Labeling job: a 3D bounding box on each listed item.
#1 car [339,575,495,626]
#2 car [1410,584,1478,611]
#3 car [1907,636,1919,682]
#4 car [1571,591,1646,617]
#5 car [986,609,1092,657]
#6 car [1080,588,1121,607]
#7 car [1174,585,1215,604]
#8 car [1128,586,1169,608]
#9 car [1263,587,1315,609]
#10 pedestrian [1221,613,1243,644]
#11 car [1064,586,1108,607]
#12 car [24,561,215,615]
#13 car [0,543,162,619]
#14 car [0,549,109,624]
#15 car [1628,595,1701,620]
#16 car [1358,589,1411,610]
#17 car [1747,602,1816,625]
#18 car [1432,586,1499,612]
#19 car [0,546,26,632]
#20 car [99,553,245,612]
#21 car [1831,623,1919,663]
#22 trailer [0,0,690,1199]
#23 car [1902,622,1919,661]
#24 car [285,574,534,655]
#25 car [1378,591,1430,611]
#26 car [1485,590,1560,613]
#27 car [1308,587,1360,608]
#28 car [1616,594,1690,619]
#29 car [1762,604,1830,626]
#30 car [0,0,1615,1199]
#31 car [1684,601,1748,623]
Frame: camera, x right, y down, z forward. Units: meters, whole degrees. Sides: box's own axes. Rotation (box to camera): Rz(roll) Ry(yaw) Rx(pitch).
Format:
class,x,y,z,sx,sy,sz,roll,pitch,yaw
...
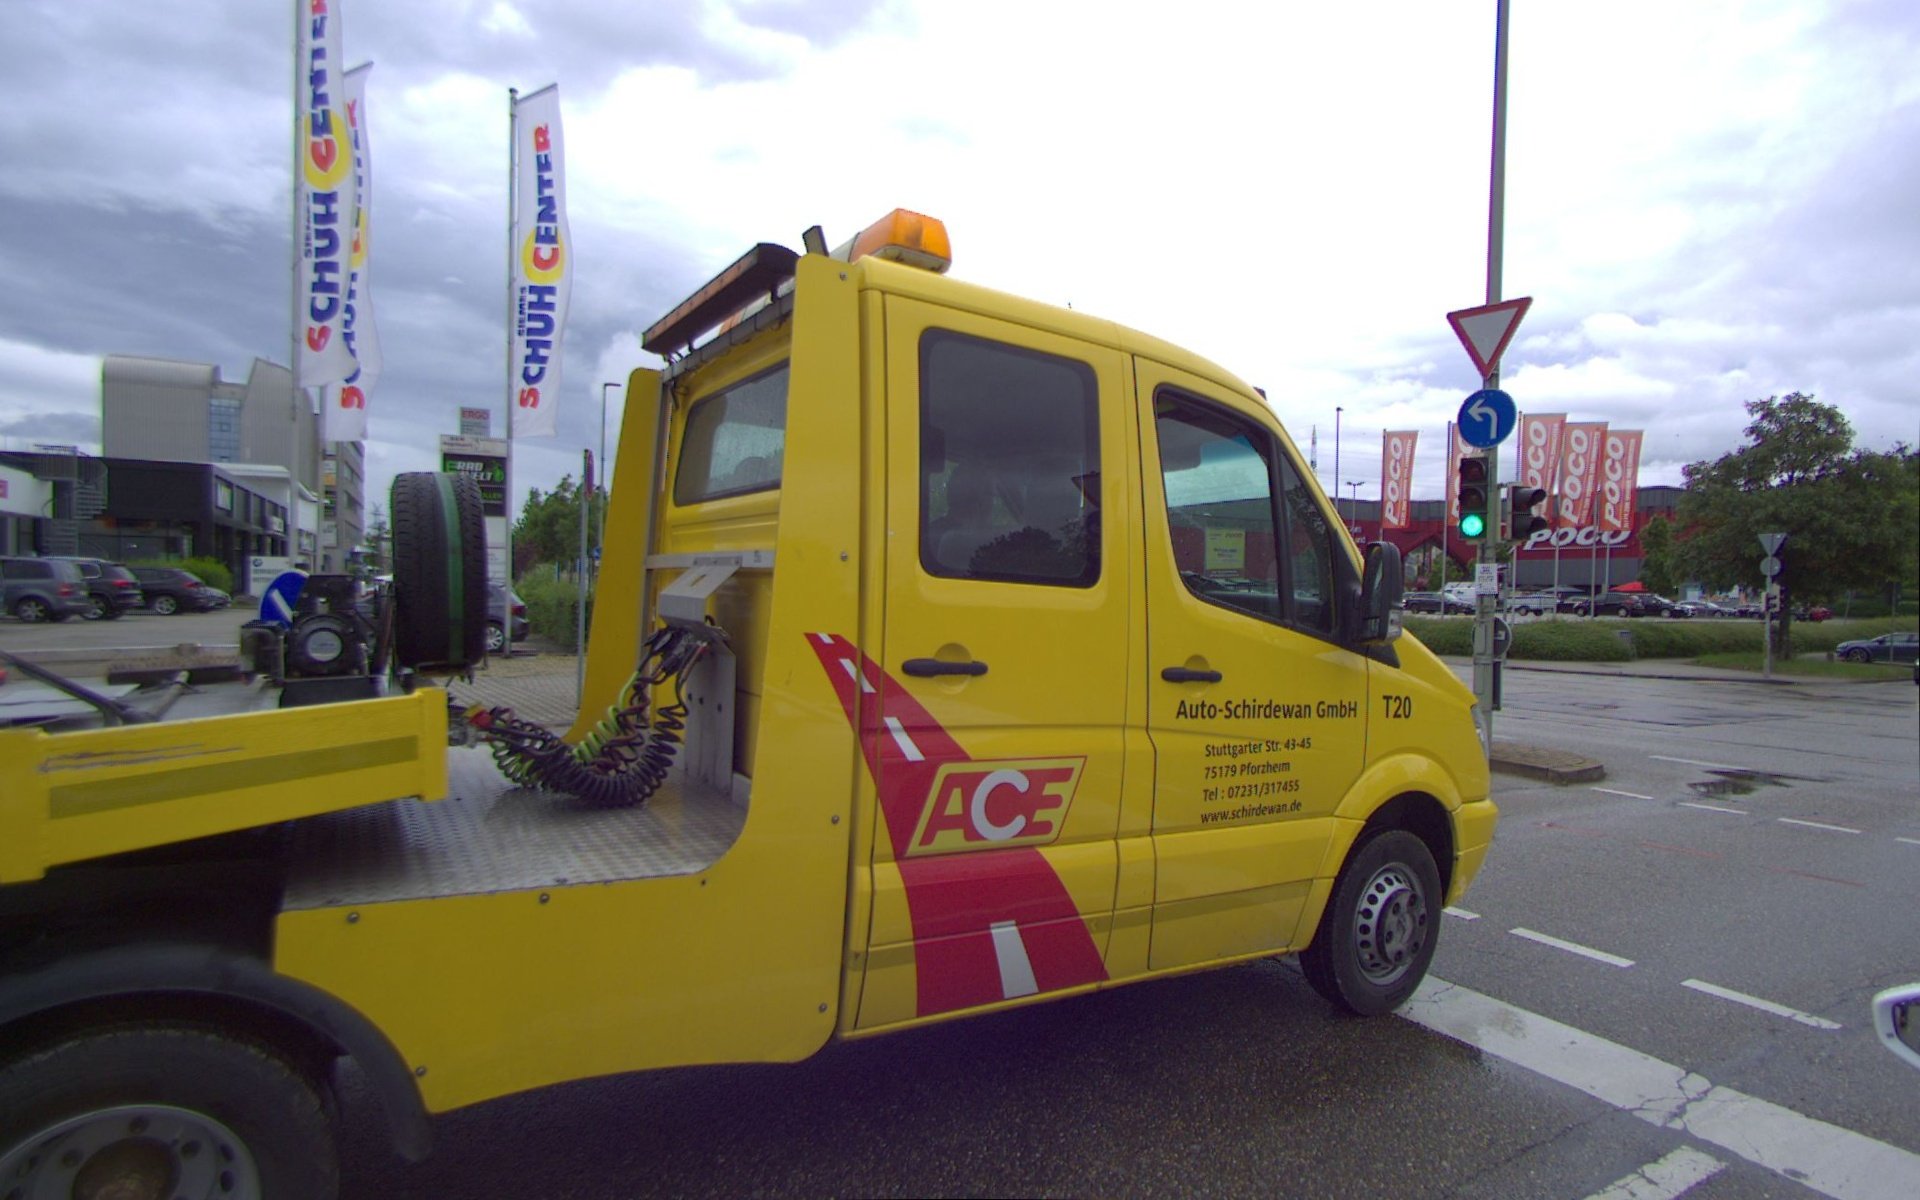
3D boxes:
class,x,y,z,sx,sy,sz,roll,pitch,yaw
car,-16.515,0.031,30.763,4.074,1.412,1.811,2,0,-27
car,31.624,-0.165,65.705,1.652,1.667,3.799,2,0,-28
car,32.114,1.921,32.144,3.958,1.423,1.772,2,-1,-33
car,42.647,0.253,66.106,1.652,1.667,3.799,2,0,-28
car,2.752,1.134,35.824,1.701,1.483,3.964,4,-2,-32
car,12.795,-0.233,91.513,1.676,1.667,3.934,2,0,-28
car,22.414,-0.519,96.186,1.676,1.667,3.934,2,0,-28
car,17.591,-0.304,93.820,1.770,1.951,3.720,2,-1,-30
car,26.523,-0.143,81.020,1.652,1.667,3.934,2,0,-28
pedestrian,13.100,1.359,48.411,0.773,1.450,0.635,3,-1,-33
car,10.601,-0.325,84.840,1.676,1.667,3.934,2,0,-28
car,-26.794,-0.359,32.233,4.319,1.518,1.884,2,0,-27
car,-24.962,-0.517,27.668,4.319,1.931,1.884,2,0,-27
car,-24.269,-0.370,25.015,4.319,1.787,1.884,2,0,-27
car,49.158,0.506,70.159,1.652,1.667,3.799,2,0,-28
car,35.772,-0.027,84.775,1.652,1.667,3.934,2,0,-28
car,63.611,1.062,77.829,1.652,1.667,3.799,2,0,-28
car,33.938,-0.073,67.565,1.612,1.667,3.799,2,0,-28
car,-22.204,-0.300,20.394,4.319,1.787,1.884,2,0,-27
car,-29.947,-0.630,38.332,3.945,2.040,1.900,2,0,-24
car,39.436,1.811,42.502,1.669,1.574,3.623,2,-1,-36
trailer,-4.480,0.033,0.832,7.884,2.507,2.290,2,-1,-33
car,44.560,1.912,44.693,1.669,1.747,3.623,2,0,-36
car,-10.558,0.295,19.639,4.069,1.412,1.813,2,0,-24
car,37.988,0.058,86.022,1.652,1.667,3.934,2,0,-28
car,35.832,0.102,64.086,1.652,1.399,3.880,2,-1,-28
car,30.897,-0.213,83.140,1.652,1.667,3.934,2,0,-28
car,47.088,0.424,68.273,1.652,1.667,3.799,2,0,-28
car,65.952,1.153,79.282,1.652,1.667,3.799,2,0,-28
car,-0.142,0.200,3.528,4.960,2.507,2.227,2,-1,-32
car,61.631,0.984,81.910,1.652,1.667,3.799,2,0,-28
